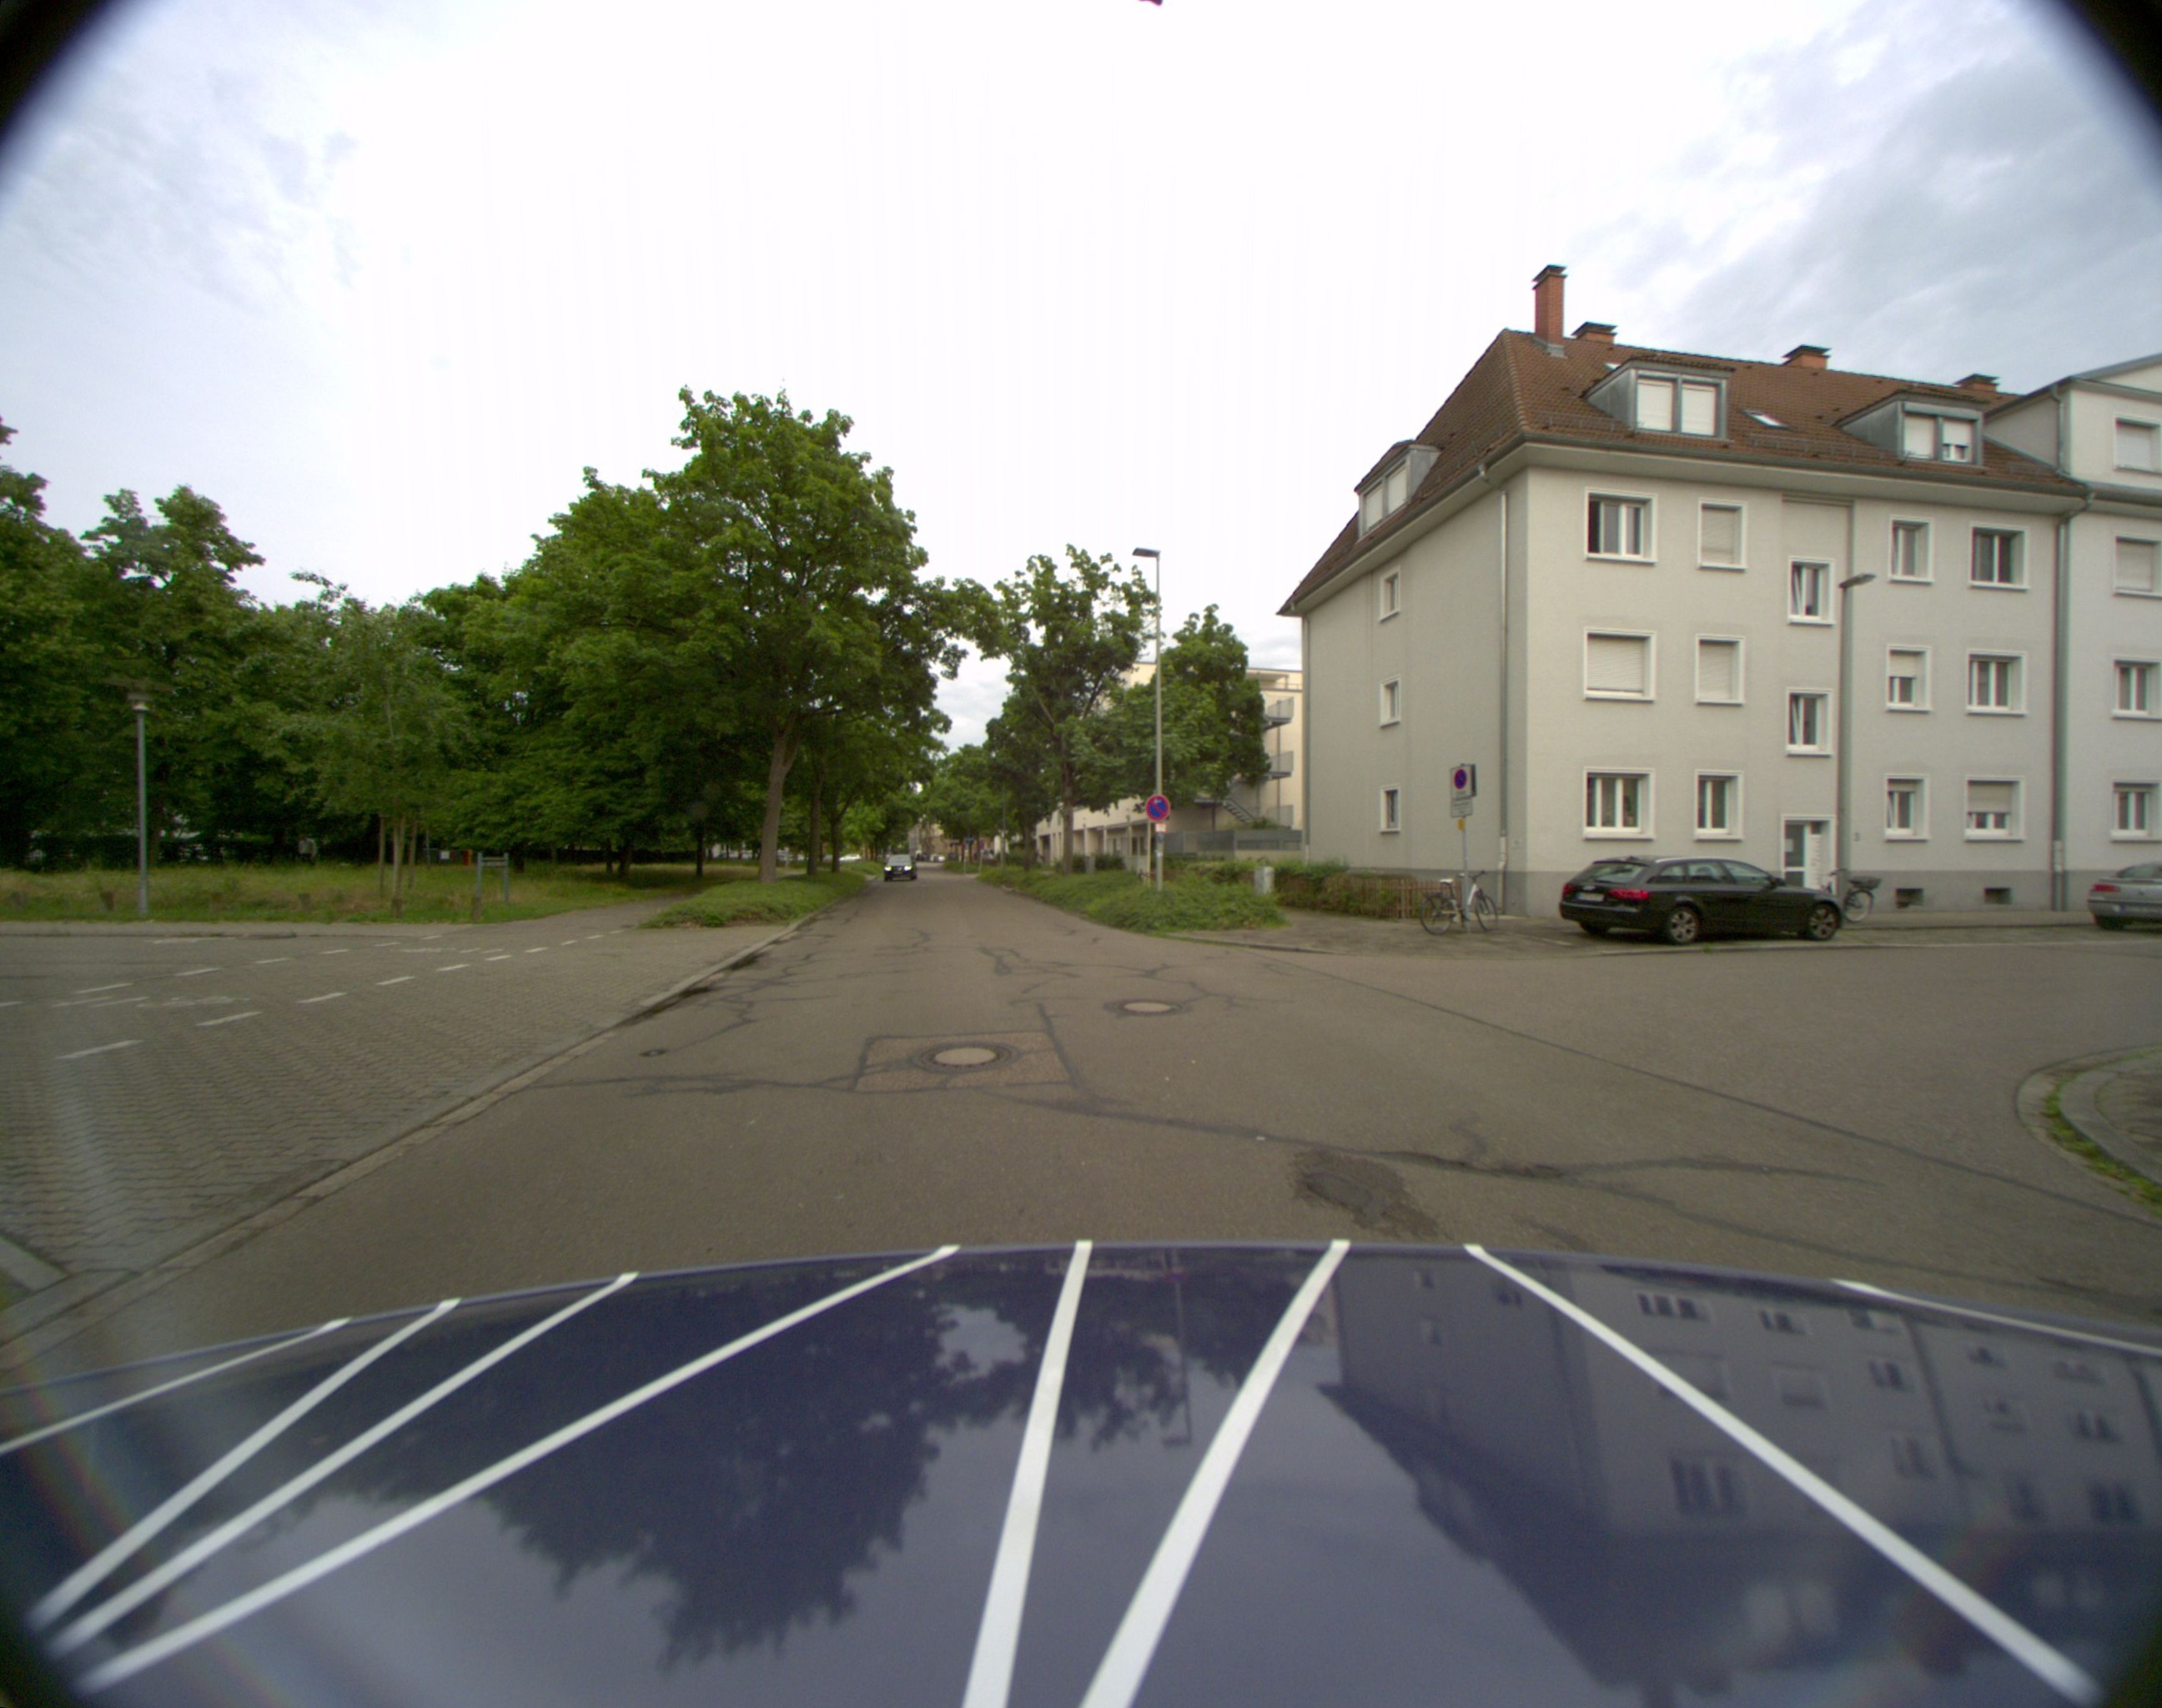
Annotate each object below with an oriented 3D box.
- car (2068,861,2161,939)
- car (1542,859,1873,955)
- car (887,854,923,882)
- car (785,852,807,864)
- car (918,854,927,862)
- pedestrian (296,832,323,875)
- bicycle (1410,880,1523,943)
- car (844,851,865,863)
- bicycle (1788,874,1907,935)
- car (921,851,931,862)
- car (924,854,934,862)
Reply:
[{"bbox_3d":[22.482,0.889,15.075,4.432,1.454,1.736,0,1,-12],"label":"car"},{"bbox_3d":[10.798,0.835,13.218,4.727,1.454,1.864,0,1,-12],"label":"car"},{"bbox_3d":[-11.279,0.858,48.965,2.000,1.478,4.534,-1,2,-10],"label":"car"},{"bbox_3d":[-46.467,0.684,124.005,3.317,1.913,1.808,-1,0,-20],"label":"car"},{"bbox_3d":[-37.461,0.851,179.550,1.787,1.849,3.656,1,0,-18],"label":"car"},{"bbox_3d":[-32.298,-0.014,31.810,0.543,1.787,0.573,1,1,1],"label":"pedestrian"},{"bbox_3d":[7.039,1.035,13.897,1.889,0.998,0.568,-2,3,-10],"label":"bicycle"},{"bbox_3d":[-37.839,0.552,126.810,3.317,1.913,1.808,-1,0,-20],"label":"car"},{"bbox_3d":[15.920,1.035,15.807,1.895,1.194,0.750,0,3,-10],"label":"bicycle"},{"bbox_3d":[-35.354,0.521,173.743,1.787,2.399,3.656,1,0,-18],"label":"car"},{"bbox_3d":[-34.020,0.798,169.571,1.787,1.754,3.656,1,0,-18],"label":"car"}]
